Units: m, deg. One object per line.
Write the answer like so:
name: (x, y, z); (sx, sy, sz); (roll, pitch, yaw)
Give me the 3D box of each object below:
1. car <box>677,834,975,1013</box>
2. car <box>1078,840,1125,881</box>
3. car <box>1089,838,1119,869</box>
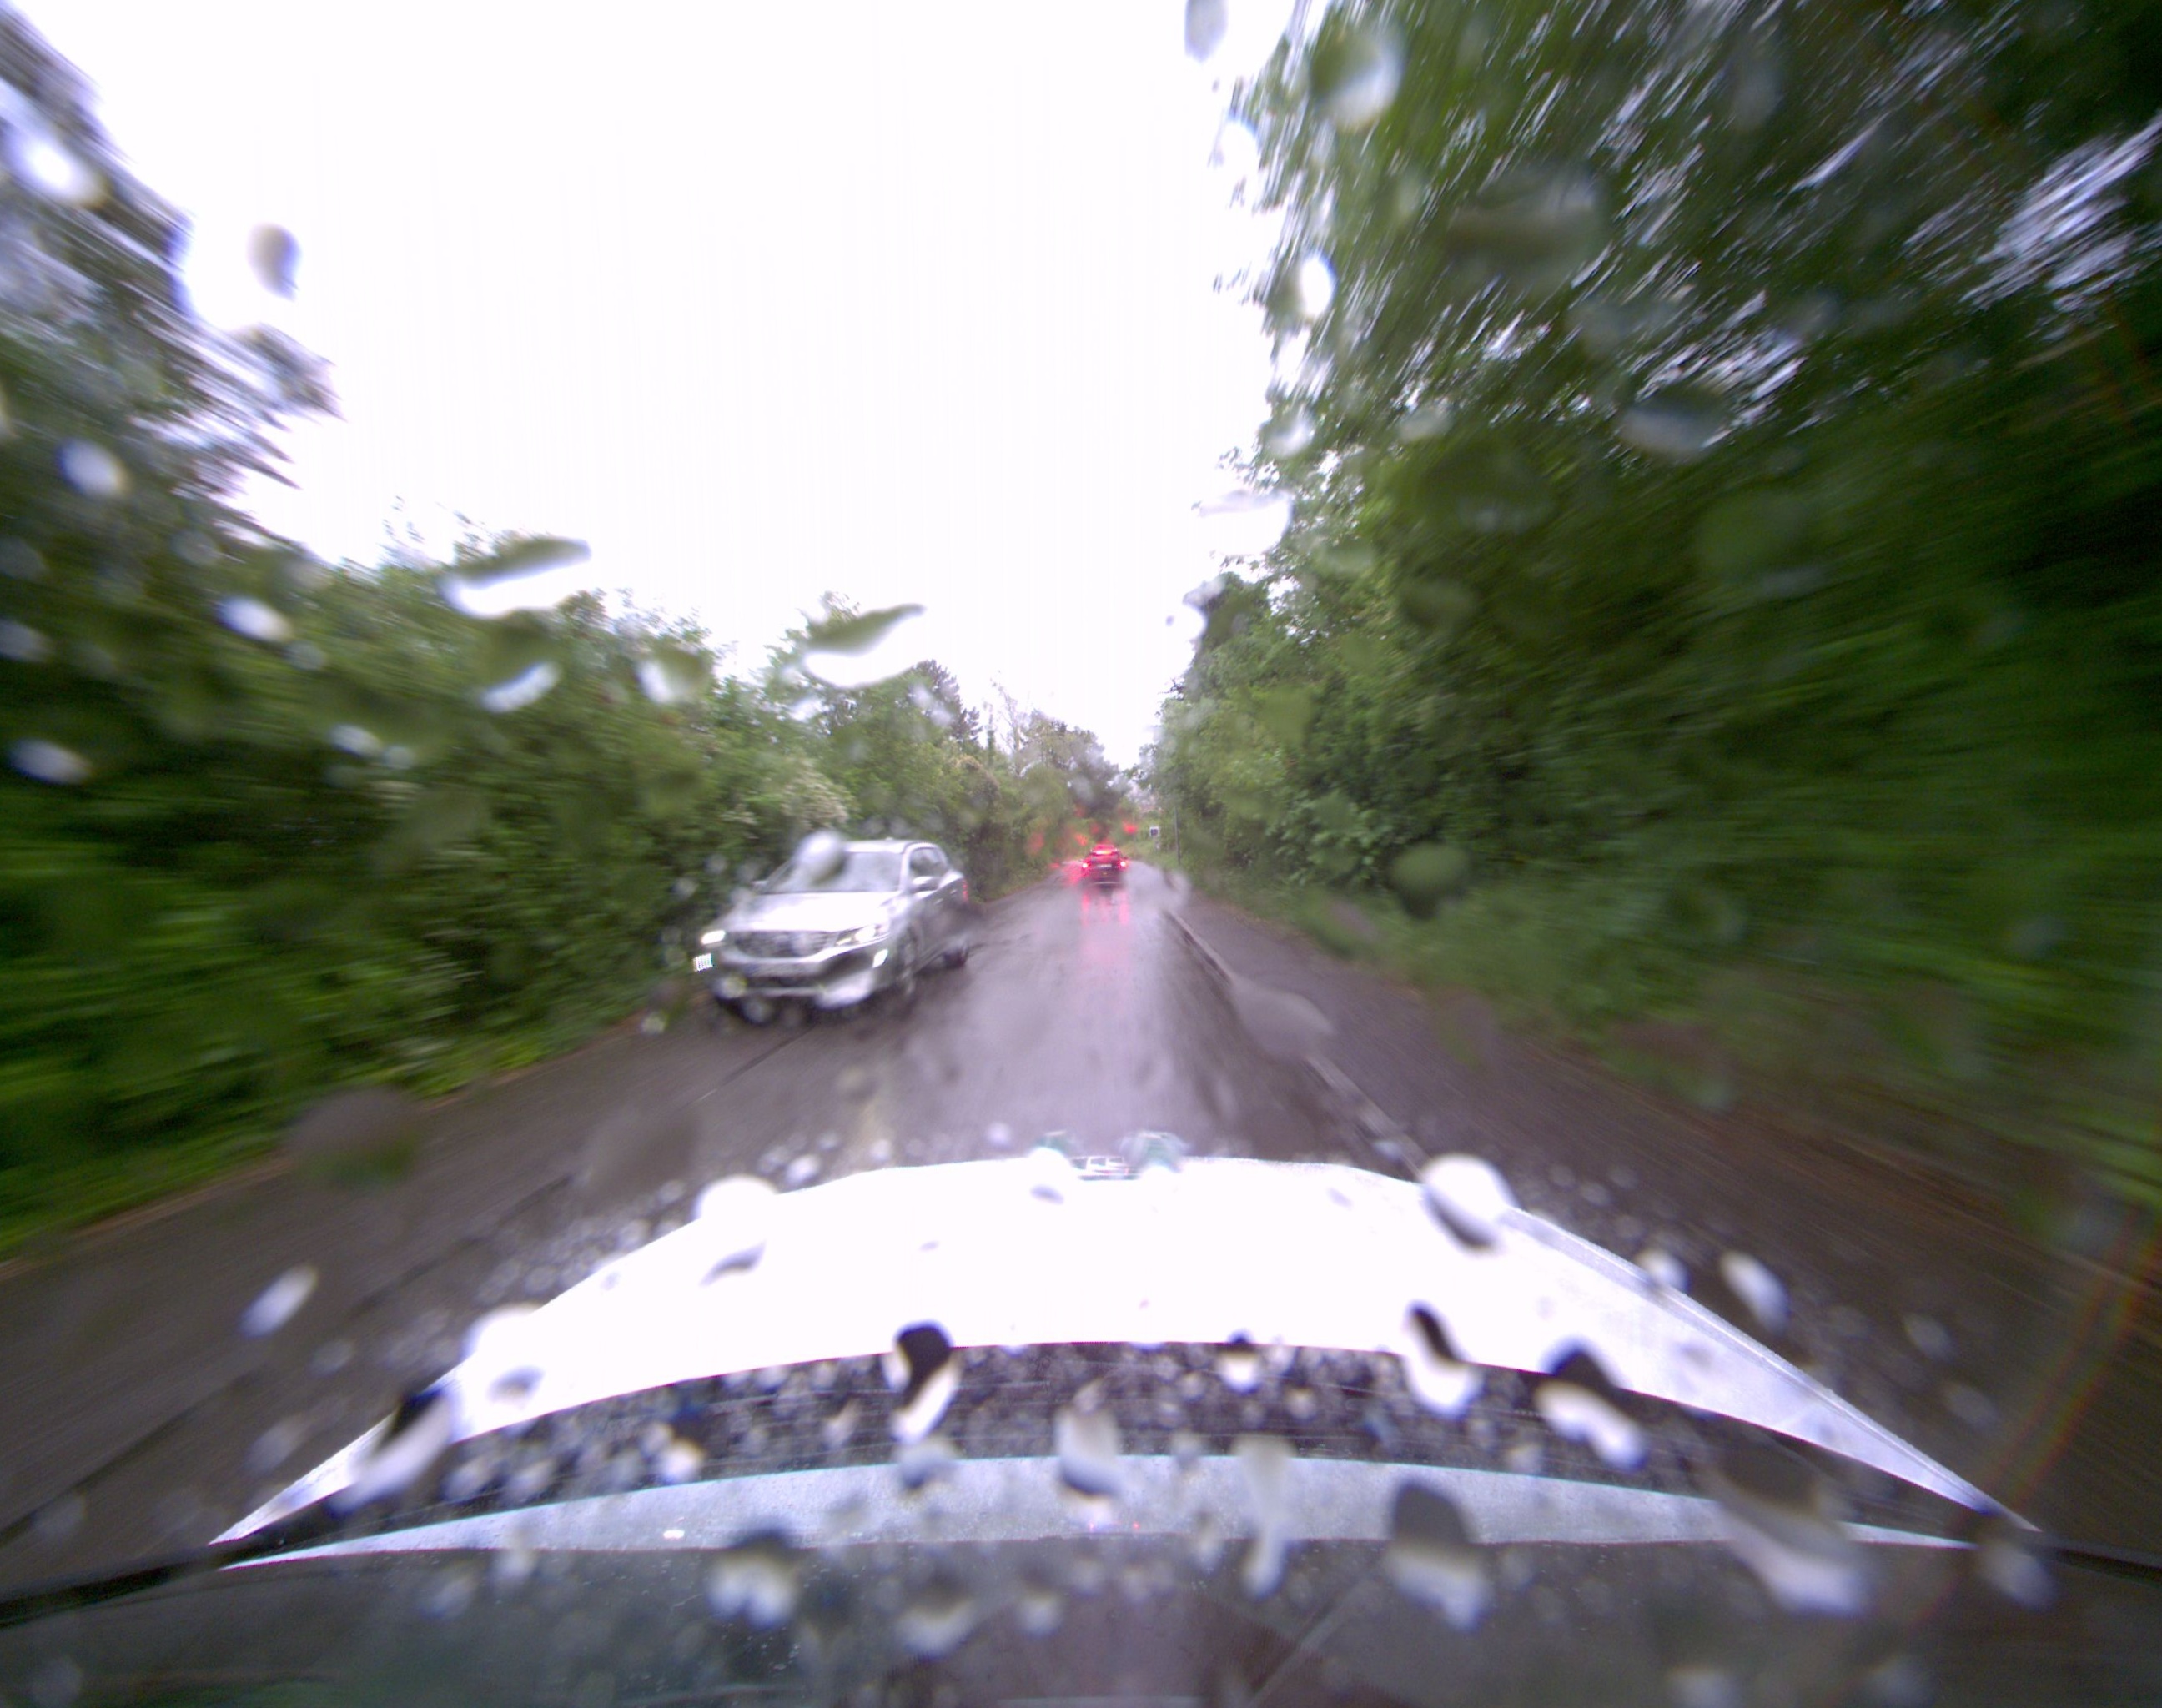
car: (-2.576, 0.584, 9.466); (2.041, 1.601, 4.230); (0, 1, 1)
car: (0.829, 0.250, 32.095); (1.693, 1.450, 4.002); (-3, 0, 2)
car: (1.542, -0.019, 55.125); (1.856, 1.744, 3.999); (-2, -4, 1)
